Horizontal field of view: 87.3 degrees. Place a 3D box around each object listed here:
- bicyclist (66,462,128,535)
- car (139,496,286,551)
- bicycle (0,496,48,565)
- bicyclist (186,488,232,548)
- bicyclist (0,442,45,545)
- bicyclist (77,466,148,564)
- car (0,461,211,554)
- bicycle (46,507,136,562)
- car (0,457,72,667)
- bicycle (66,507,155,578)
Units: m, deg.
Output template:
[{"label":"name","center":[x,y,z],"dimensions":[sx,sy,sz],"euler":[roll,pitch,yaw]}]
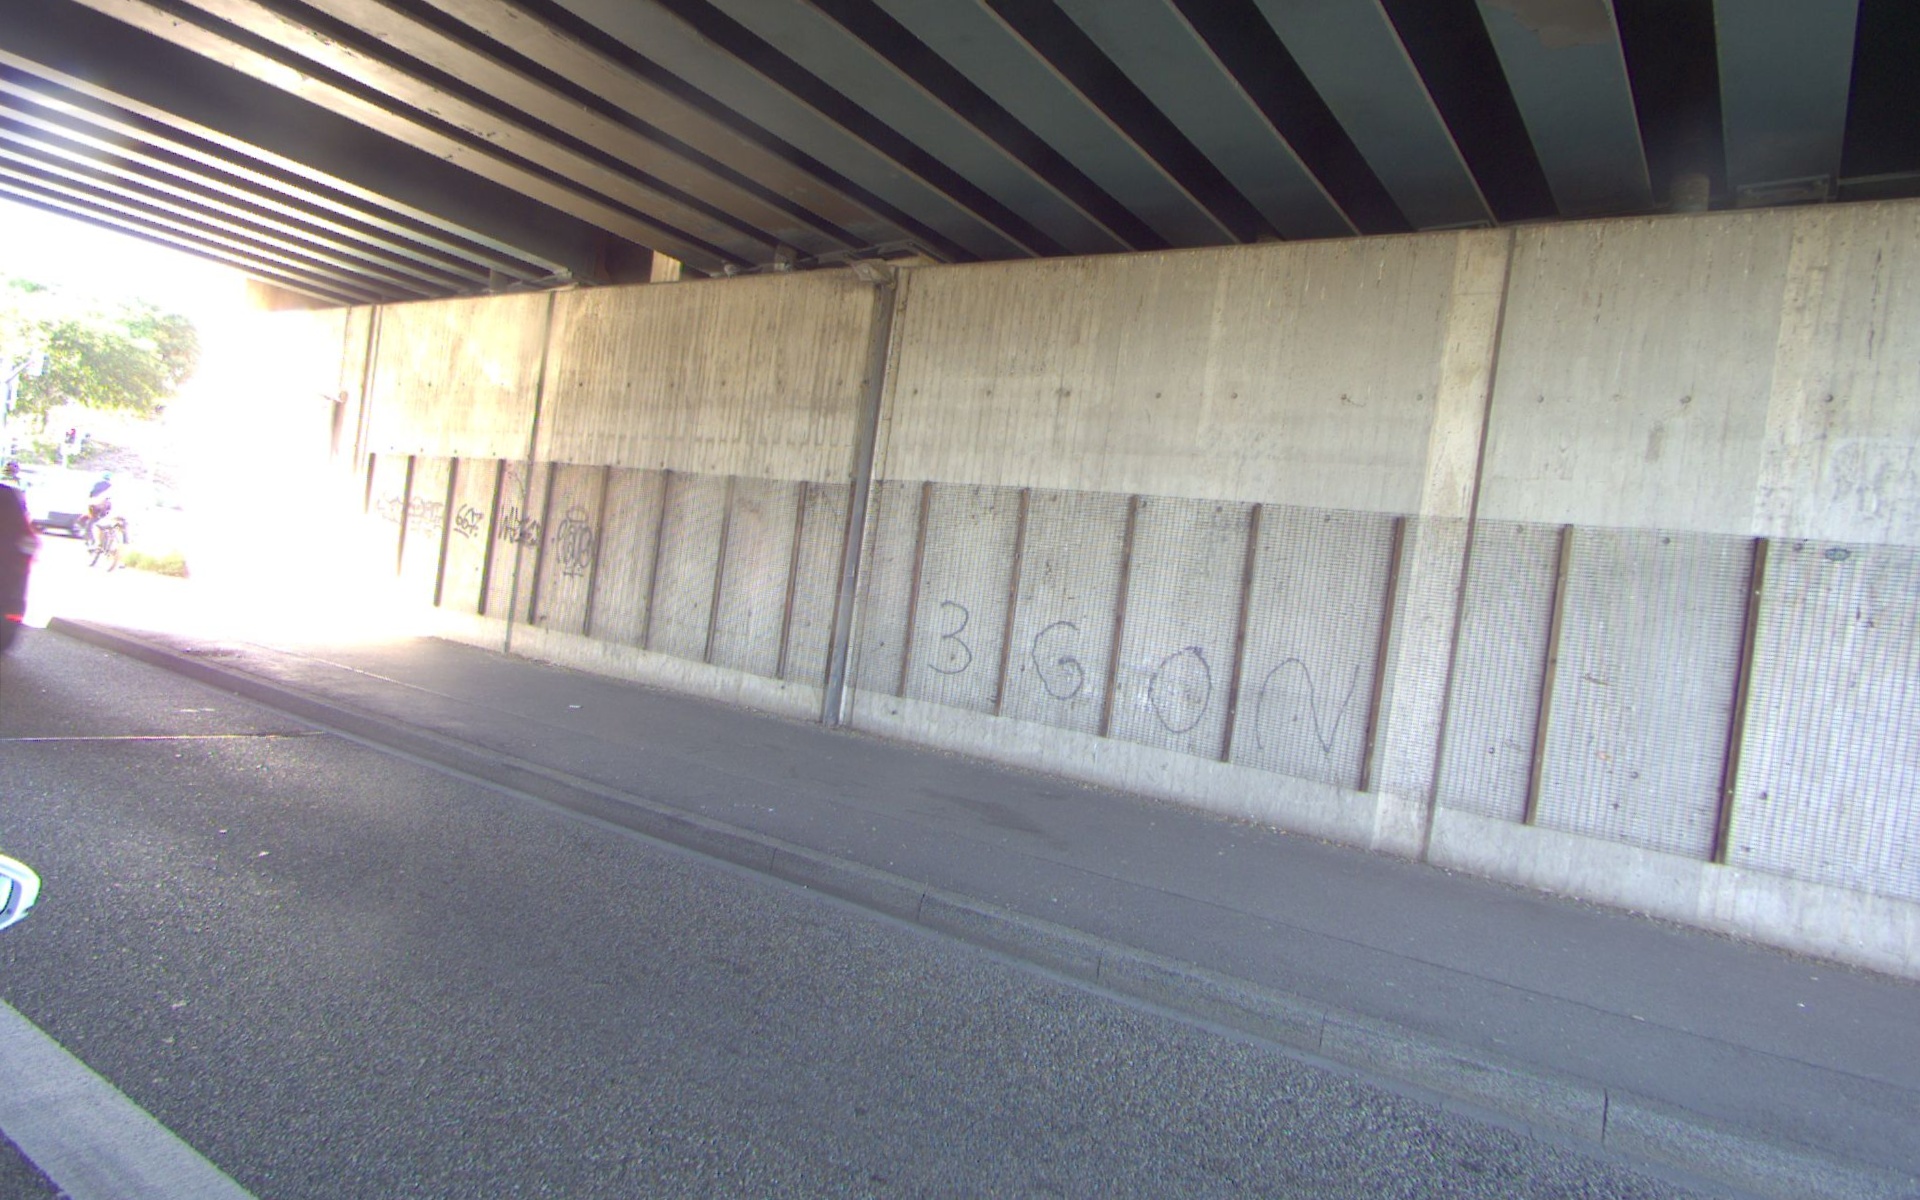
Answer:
[{"label":"bicyclist","center":[-19.614,-2.286,22.879],"dimensions":[0.657,1.491,0.749],"euler":[7,-1,-16]},{"label":"car","center":[-31.400,-3.189,42.376],"dimensions":[1.801,1.531,4.548],"euler":[6,-3,39]},{"label":"bicycle","center":[-16.197,-1.214,17.020],"dimensions":[1.721,1.035,0.593],"euler":[6,-1,32]},{"label":"bicyclist","center":[-20.520,-2.234,27.489],"dimensions":[0.607,1.499,0.651],"euler":[8,0,22]},{"label":"bicyclist","center":[-16.127,-1.808,17.011],"dimensions":[0.927,1.632,0.593],"euler":[6,-1,32]},{"label":"bicyclist","center":[-14.664,-1.475,17.413],"dimensions":[0.756,1.566,0.593],"euler":[6,-1,32]},{"label":"car","center":[-25.068,-2.625,29.593],"dimensions":[1.851,1.907,4.656],"euler":[7,-1,12]},{"label":"bicycle","center":[-19.700,-1.464,22.863],"dimensions":[0.663,1.035,2.049],"euler":[8,-2,-16]},{"label":"car","center":[-9.838,-0.548,8.902],"dimensions":[3.914,1.727,1.722],"euler":[7,-1,30]},{"label":"bicycle","center":[-14.718,-1.003,17.419],"dimensions":[1.721,1.035,0.593],"euler":[6,-1,32]}]
